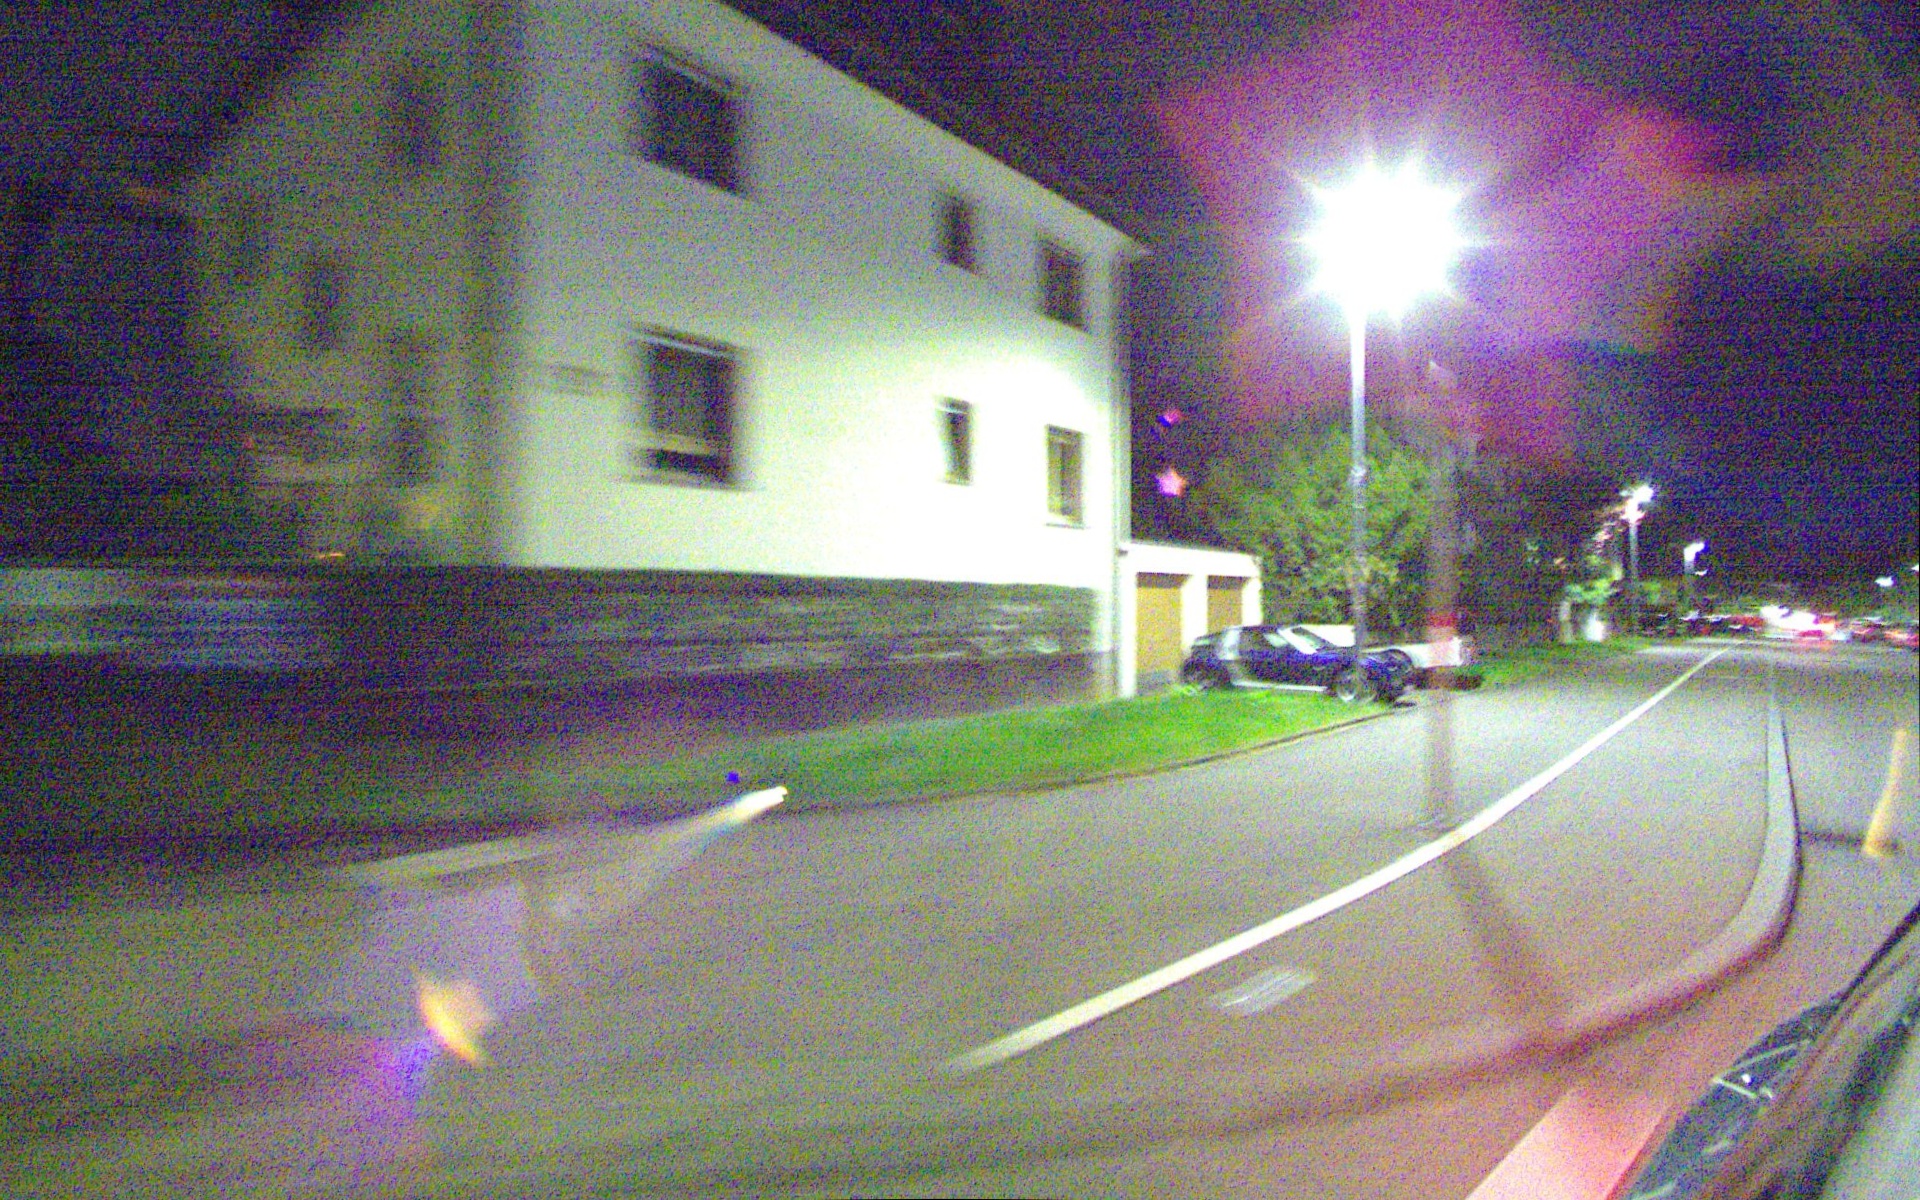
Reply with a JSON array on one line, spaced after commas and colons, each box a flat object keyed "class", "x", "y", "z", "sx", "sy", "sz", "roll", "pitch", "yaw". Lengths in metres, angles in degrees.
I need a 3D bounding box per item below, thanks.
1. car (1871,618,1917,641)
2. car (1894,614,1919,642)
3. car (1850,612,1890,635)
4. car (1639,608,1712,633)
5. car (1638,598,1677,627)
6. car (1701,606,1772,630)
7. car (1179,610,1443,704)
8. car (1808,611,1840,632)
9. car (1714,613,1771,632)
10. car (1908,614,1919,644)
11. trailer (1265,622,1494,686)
[{"class": "car", "x": 72.198, "y": 2.259, "z": 78.305, "sx": 2.110, "sy": 1.568, "sz": 4.417, "roll": -4, "pitch": -2, "yaw": 37}, {"class": "car", "x": 58.943, "y": 1.691, "z": 62.168, "sx": 1.924, "sy": 1.658, "sz": 4.408, "roll": -1, "pitch": -2, "yaw": 38}, {"class": "car", "x": 79.092, "y": 2.041, "z": 87.996, "sx": 2.110, "sy": 1.972, "sz": 4.821, "roll": -2, "pitch": -2, "yaw": 37}, {"class": "car", "x": 48.049, "y": 1.348, "z": 67.981, "sx": 3.899, "sy": 1.504, "sz": 1.806, "roll": 2, "pitch": 1, "yaw": 40}, {"class": "car", "x": 39.704, "y": 0.711, "z": 57.582, "sx": 1.636, "sy": 1.580, "sz": 3.627, "roll": 1, "pitch": 0, "yaw": 38}, {"class": "car", "x": 63.637, "y": 1.476, "z": 82.988, "sx": 1.998, "sy": 1.839, "sz": 4.357, "roll": 2, "pitch": 0, "yaw": -44}, {"class": "car", "x": 5.219, "y": 0.789, "z": 15.185, "sx": 3.384, "sy": 1.248, "sz": 1.700, "roll": -1, "pitch": -1, "yaw": 38}, {"class": "car", "x": 74.143, "y": 1.828, "z": 86.892, "sx": 2.000, "sy": 1.770, "sz": 4.491, "roll": 0, "pitch": -1, "yaw": 40}, {"class": "car", "x": 70.811, "y": 2.025, "z": 91.568, "sx": 3.917, "sy": 1.571, "sz": 1.955, "roll": 2, "pitch": 0, "yaw": 44}, {"class": "car", "x": 48.756, "y": 1.428, "z": 50.517, "sx": 1.745, "sy": 1.487, "sz": 3.953, "roll": -1, "pitch": -1, "yaw": 38}, {"class": "trailer", "x": 7.576, "y": 0.987, "z": 18.379, "sx": 3.426, "sy": 1.015, "sz": 1.926, "roll": -4, "pitch": -3, "yaw": 40}]
